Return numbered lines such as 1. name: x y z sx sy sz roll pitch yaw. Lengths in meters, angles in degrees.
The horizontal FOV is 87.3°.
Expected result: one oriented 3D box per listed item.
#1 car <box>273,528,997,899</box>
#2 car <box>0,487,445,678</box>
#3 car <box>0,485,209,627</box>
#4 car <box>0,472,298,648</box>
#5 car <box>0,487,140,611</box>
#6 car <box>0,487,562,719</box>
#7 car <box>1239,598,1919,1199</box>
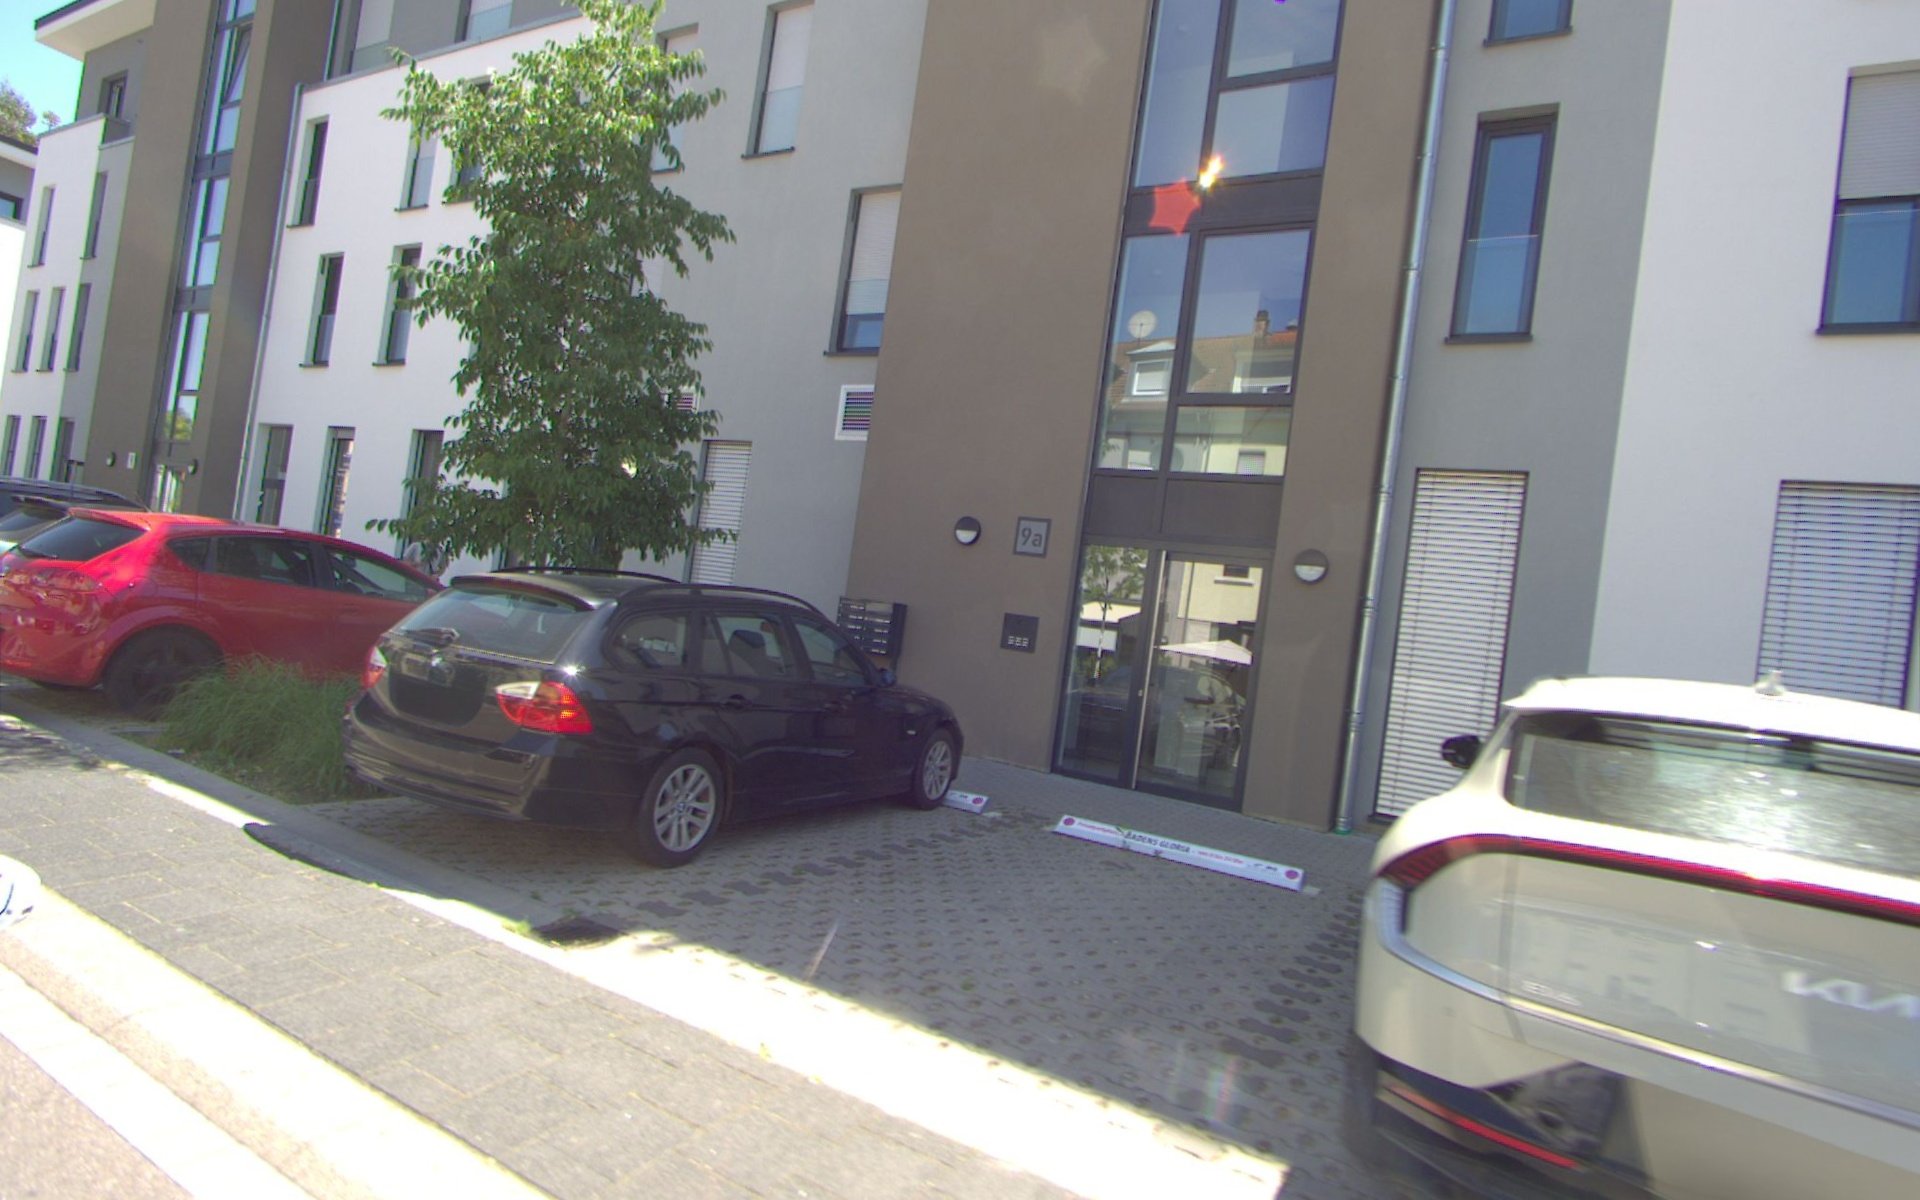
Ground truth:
1. car: -1.577 0.628 6.517 1.895 1.432 4.270 6 -2 27
2. car: -7.673 -0.099 10.176 1.733 1.448 3.990 6 -2 30
3. car: -12.214 -0.666 12.587 1.910 1.546 3.990 6 -2 30
4. car: -10.144 -0.488 11.299 1.910 1.623 3.990 6 -2 30
5. car: -13.913 -0.866 13.560 1.711 1.546 3.990 6 -2 30
6. car: -5.659 0.092 8.427 1.825 1.425 3.978 6 -1 29
7. car: 2.704 1.074 3.763 1.967 1.546 4.597 6 -2 31
